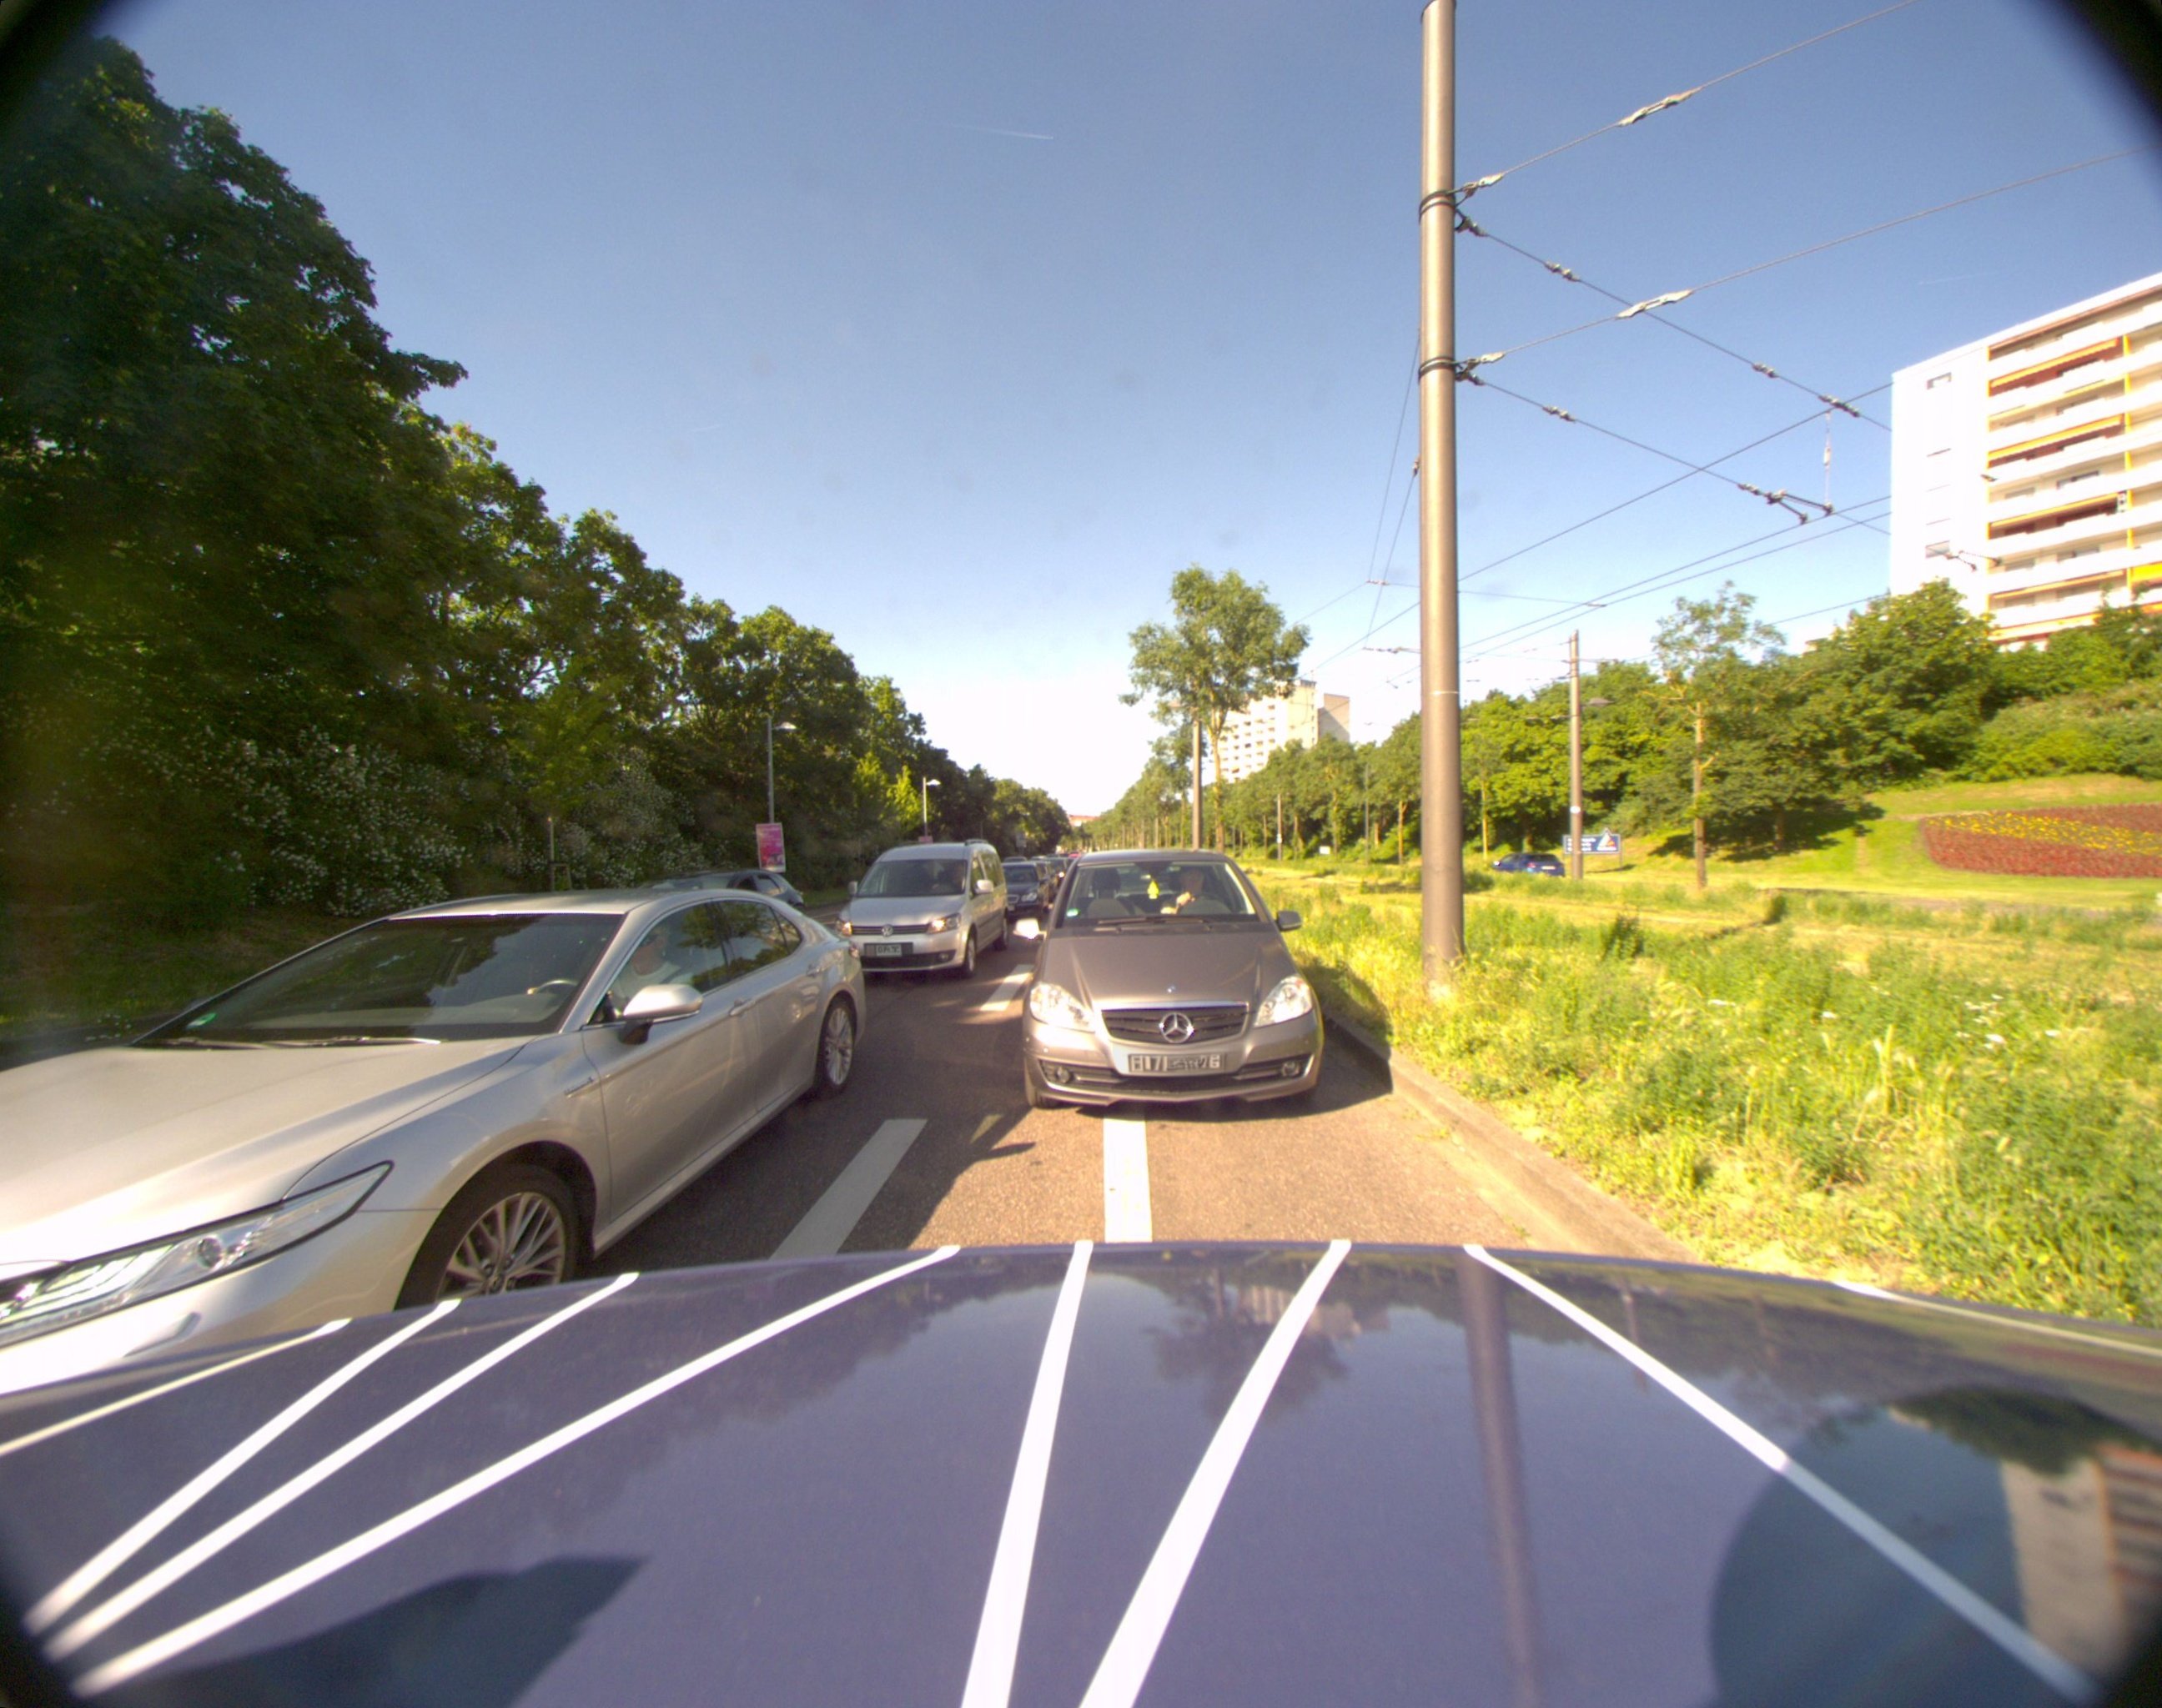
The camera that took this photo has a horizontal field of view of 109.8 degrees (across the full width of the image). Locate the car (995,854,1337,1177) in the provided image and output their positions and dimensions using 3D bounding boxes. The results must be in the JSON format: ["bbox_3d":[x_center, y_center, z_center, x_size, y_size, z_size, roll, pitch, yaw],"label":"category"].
[{"bbox_3d":[0.477,0.856,6.010,1.749,1.630,4.000,-2,0,1],"label":"car"}]

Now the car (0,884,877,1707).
[{"bbox_3d":[-2.561,1.008,3.455,1.809,1.484,4.682,-2,0,2],"label":"car"}]

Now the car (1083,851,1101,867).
[{"bbox_3d":[1.087,0.487,74.153,1.685,1.437,3.727,-2,1,2],"label":"car"}]

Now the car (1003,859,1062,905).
[{"bbox_3d":[-1.637,0.943,26.803,1.723,1.411,4.050,-1,0,1],"label":"car"}]

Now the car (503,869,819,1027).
[{"bbox_3d":[-5.236,1.053,10.270,1.772,1.499,4.225,-2,1,2],"label":"car"}]

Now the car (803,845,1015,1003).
[{"bbox_3d":[-2.235,0.807,11.256,1.808,1.811,4.587,-2,1,3],"label":"car"}]

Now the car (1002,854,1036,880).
[{"bbox_3d":[-3.933,0.788,48.632,1.713,1.485,3.963,-2,0,1],"label":"car"}]

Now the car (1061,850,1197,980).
[{"bbox_3d":[0.670,0.805,12.166,1.749,1.652,3.999,-2,1,1],"label":"car"}]

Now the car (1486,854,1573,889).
[{"bbox_3d":[19.614,0.731,33.402,1.578,1.412,3.909,-1,0,1],"label":"car"}]

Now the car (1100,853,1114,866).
[{"bbox_3d":[3.306,0.669,98.042,1.749,1.652,4.000,-1,0,1],"label":"car"}]

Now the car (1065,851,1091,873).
[{"bbox_3d":[-0.172,0.574,55.809,1.685,1.437,3.727,-2,1,2],"label":"car"}]

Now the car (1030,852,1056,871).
[{"bbox_3d":[-3.163,0.625,64.118,1.749,1.427,4.386,-2,1,2],"label":"car"}]

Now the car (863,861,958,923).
[{"bbox_3d":[-4.852,1.029,22.192,1.726,1.508,4.137,-2,0,1],"label":"car"}]

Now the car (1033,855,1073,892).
[{"bbox_3d":[-1.246,0.845,34.795,1.621,1.485,3.452,-2,1,0],"label":"car"}]

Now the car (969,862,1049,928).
[{"bbox_3d":[-1.744,0.968,19.558,1.717,1.445,4.197,-1,0,-1],"label":"car"}]

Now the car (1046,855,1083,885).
[{"bbox_3d":[-0.800,0.786,39.847,1.713,1.430,4.171,-2,0,1],"label":"car"}]
